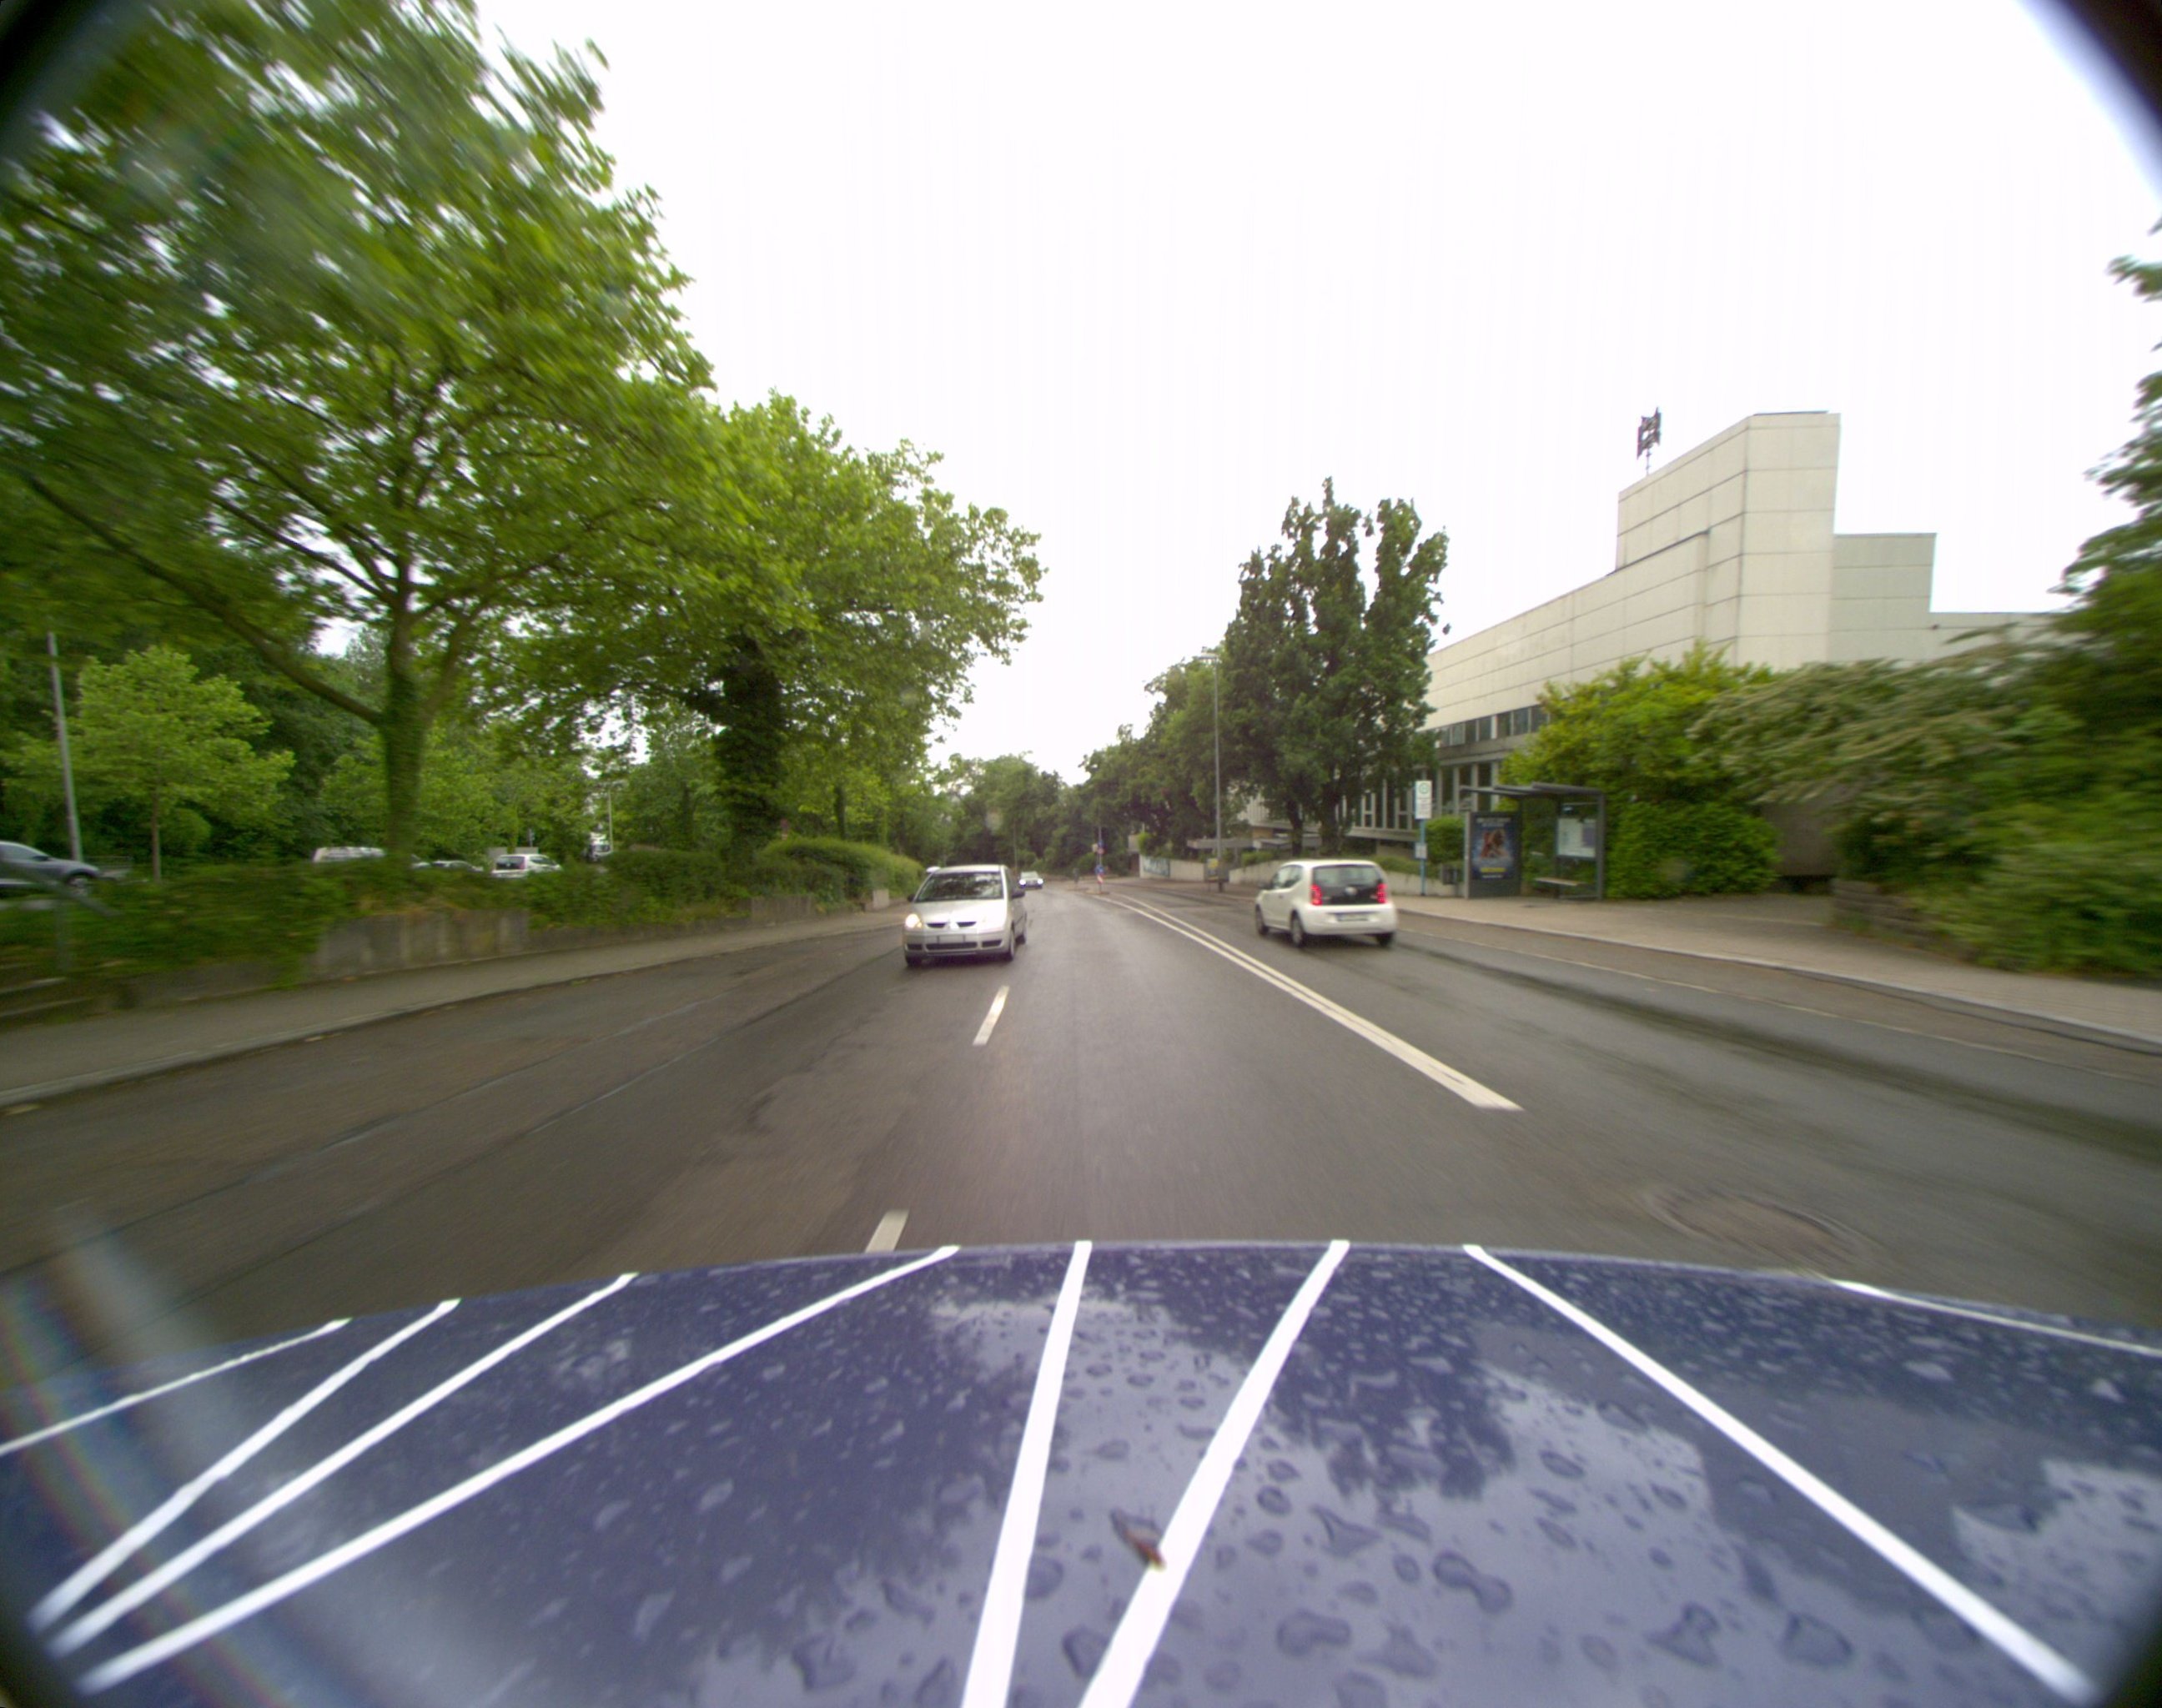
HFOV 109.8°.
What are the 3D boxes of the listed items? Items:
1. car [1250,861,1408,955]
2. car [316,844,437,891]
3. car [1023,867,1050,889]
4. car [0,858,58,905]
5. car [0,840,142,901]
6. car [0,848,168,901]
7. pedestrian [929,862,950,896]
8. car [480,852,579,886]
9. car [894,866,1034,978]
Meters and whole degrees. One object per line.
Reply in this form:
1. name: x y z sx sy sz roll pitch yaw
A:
1. car: 4.360 0.881 13.877 1.690 1.445 3.397 -1 0 -1
2. car: -32.888 0.639 35.677 1.707 2.001 4.354 -3 -1 -3
3. car: -3.599 1.938 61.980 2.036 1.691 3.999 -3 -1 -3
4. car: -36.607 0.926 24.745 1.707 1.514 3.628 -3 -1 -3
5. car: -27.328 0.445 19.282 1.900 1.444 4.170 -3 -1 -4
6. car: -32.463 0.666 24.487 1.707 1.514 3.628 -3 -1 -3
7. pedestrian: -7.940 1.388 42.570 1.054 1.882 1.132 -2 0 -8
8. car: -26.612 0.745 36.864 1.900 1.444 4.170 -3 -1 -4
9. car: -1.851 1.027 13.192 1.640 1.496 4.000 -4 0 1
